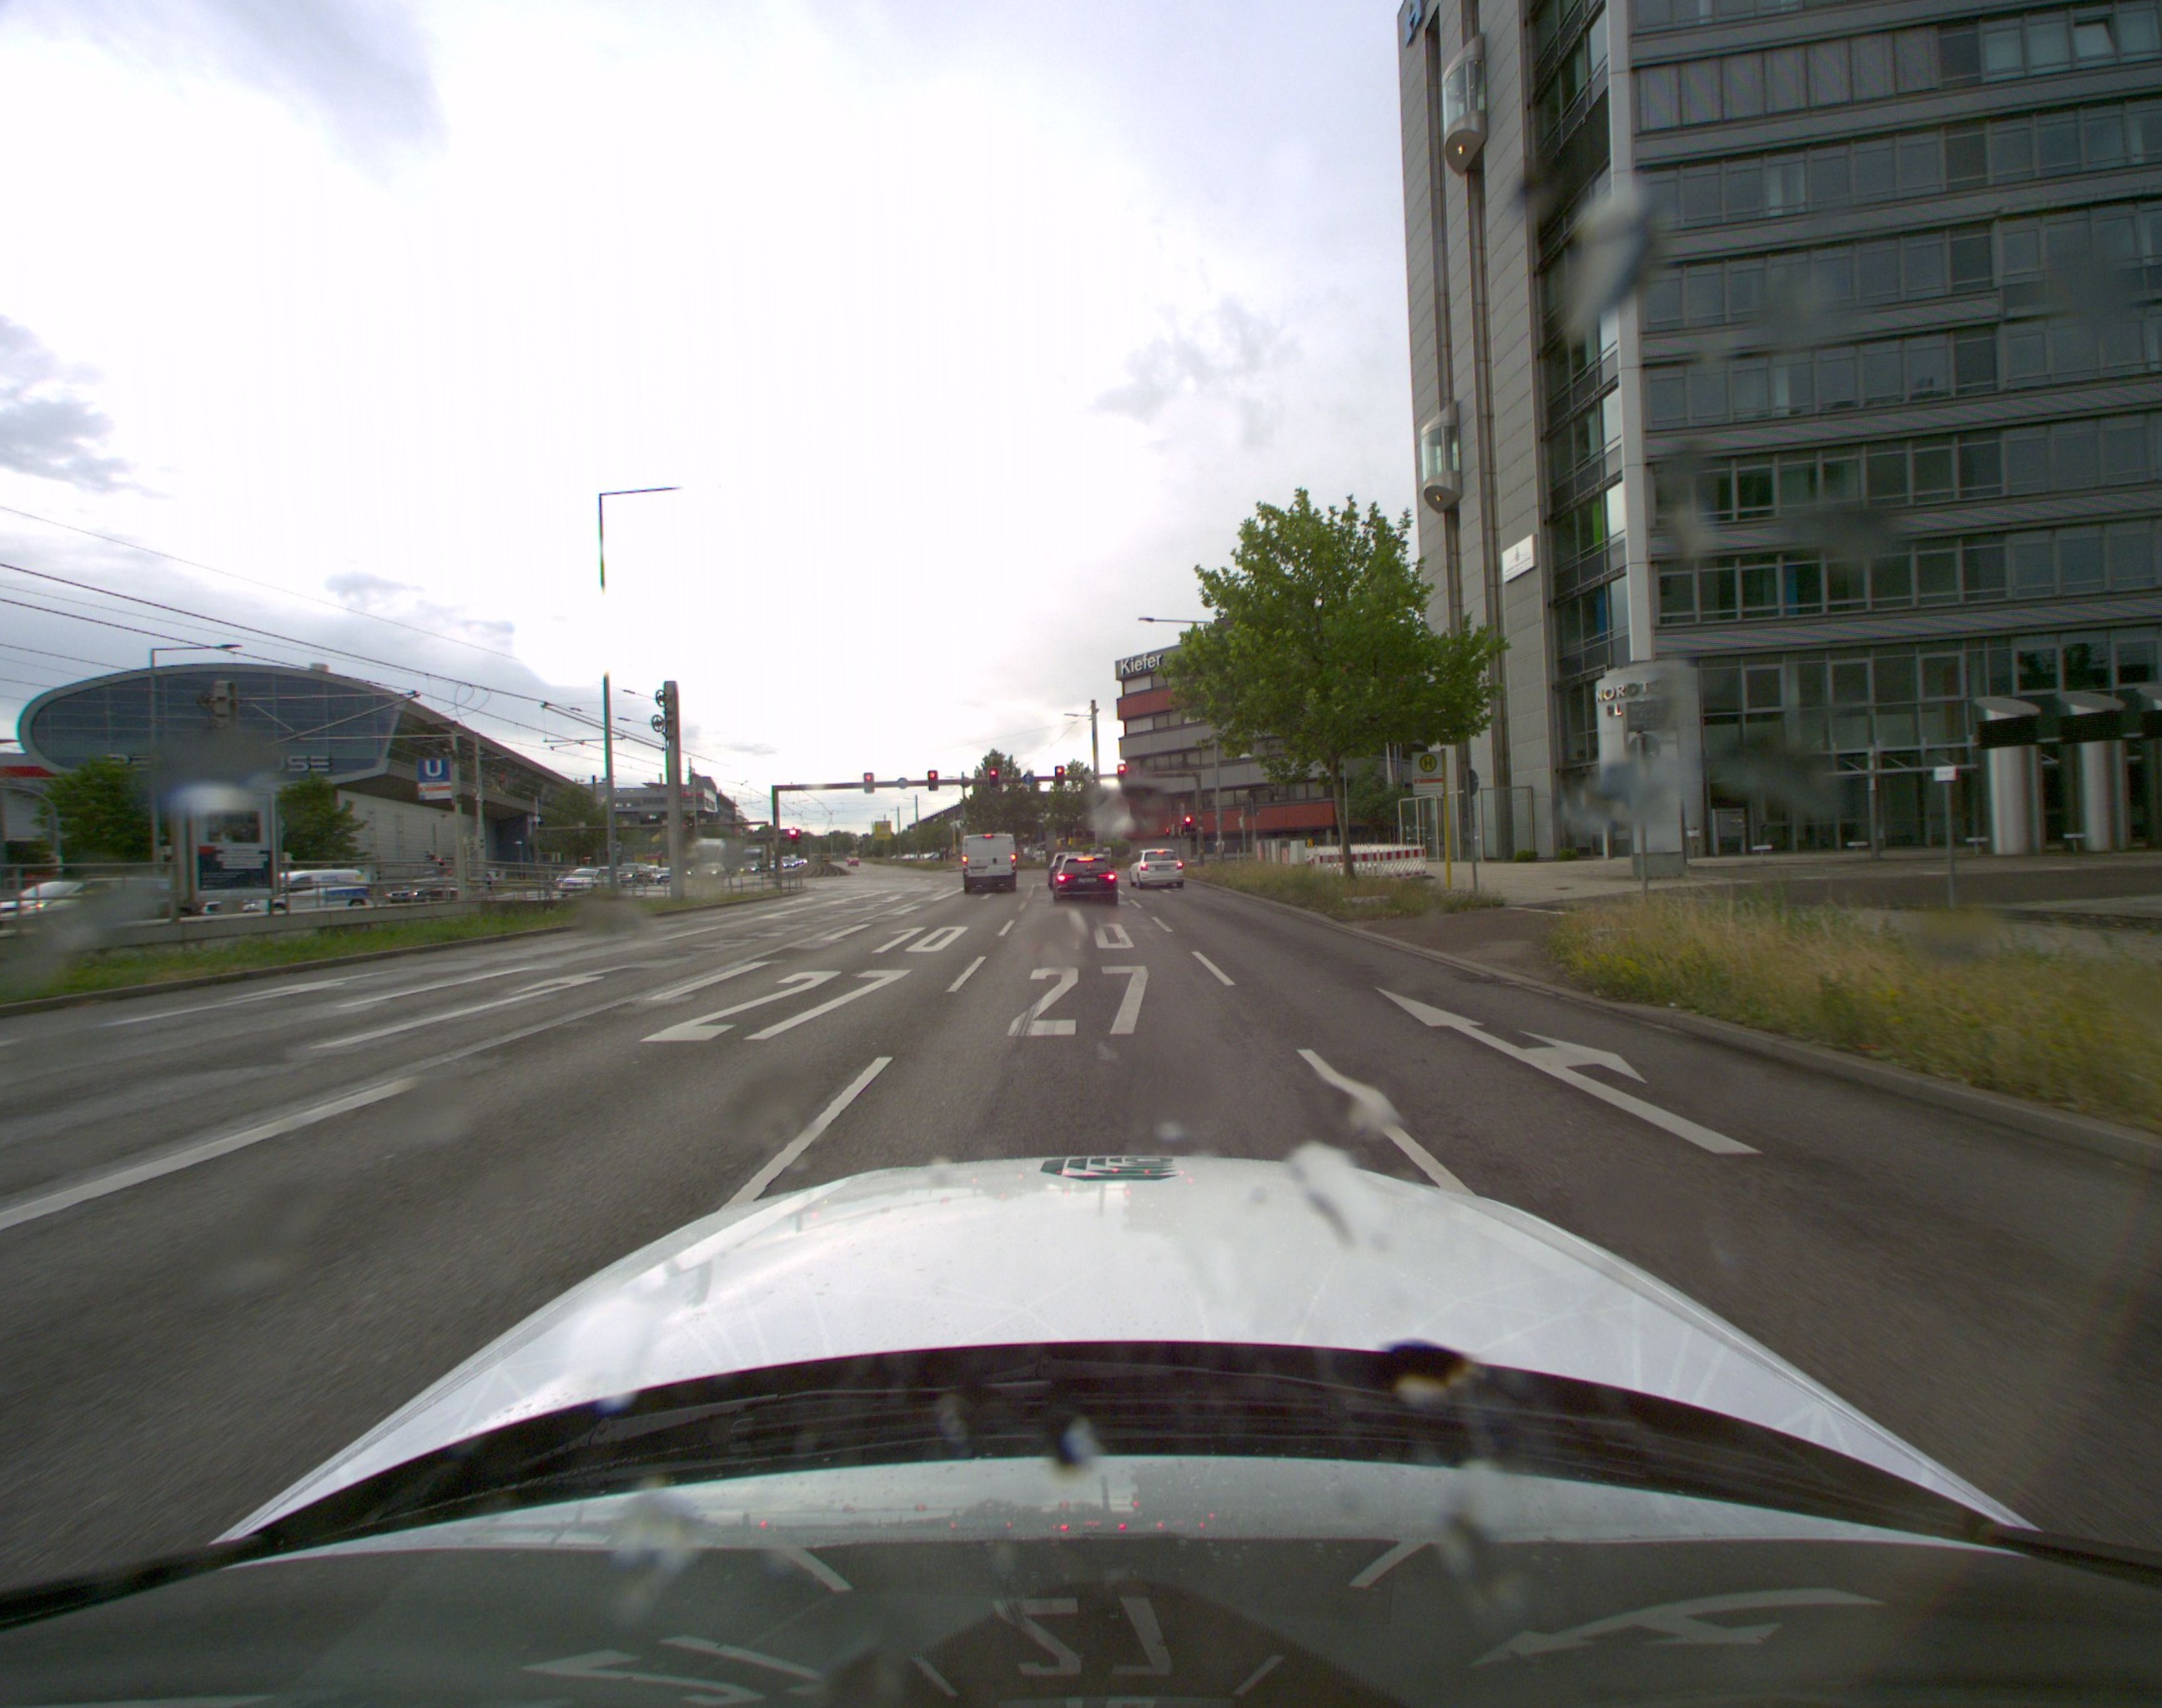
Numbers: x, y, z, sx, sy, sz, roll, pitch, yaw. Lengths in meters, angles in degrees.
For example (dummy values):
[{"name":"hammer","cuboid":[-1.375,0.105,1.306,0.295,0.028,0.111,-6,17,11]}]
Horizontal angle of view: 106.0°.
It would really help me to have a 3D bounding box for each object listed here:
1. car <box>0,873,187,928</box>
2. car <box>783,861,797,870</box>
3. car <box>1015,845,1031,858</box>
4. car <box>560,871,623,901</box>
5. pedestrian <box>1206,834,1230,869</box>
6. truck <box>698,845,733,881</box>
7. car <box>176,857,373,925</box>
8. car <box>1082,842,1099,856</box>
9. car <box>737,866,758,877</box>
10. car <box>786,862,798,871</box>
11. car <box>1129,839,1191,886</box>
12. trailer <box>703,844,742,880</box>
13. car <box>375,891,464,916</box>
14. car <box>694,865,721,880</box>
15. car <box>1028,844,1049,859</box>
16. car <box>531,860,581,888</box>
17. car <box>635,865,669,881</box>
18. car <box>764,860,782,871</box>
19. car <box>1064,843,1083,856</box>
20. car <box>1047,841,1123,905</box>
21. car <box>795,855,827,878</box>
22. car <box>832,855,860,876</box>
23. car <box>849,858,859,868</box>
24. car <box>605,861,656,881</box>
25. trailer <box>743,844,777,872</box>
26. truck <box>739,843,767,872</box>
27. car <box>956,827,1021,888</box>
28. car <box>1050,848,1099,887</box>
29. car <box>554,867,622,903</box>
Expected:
[{"name":"car","cuboid":[-34.622,1.549,28.294,2.100,1.700,4.660,0,-1,-3]},{"name":"car","cuboid":[-53.499,2.142,149.540,1.905,1.555,4.545,0,-1,-13]},{"name":"car","cuboid":[-9.113,-0.372,127.831,1.683,2.014,3.521,0,-1,-17]},{"name":"car","cuboid":[-28.987,1.867,48.373,1.526,1.666,4.260,0,-1,-5]},{"name":"pedestrian","cuboid":[8.679,-0.144,51.654,1.140,2.125,1.222,-3,1,-2]},{"name":"truck","cuboid":[-43.013,0.987,96.044,2.838,3.996,5.953,-2,0,-16]},{"name":"car","cuboid":[-28.526,1.231,29.128,1.988,2.214,5.139,0,-1,-2]},{"name":"car","cuboid":[1.362,-0.736,123.168,1.680,2.014,3.118,0,-1,-18]},{"name":"car","cuboid":[-41.286,2.151,100.866,1.911,1.264,4.391,0,-1,-15]},{"name":"car","cuboid":[-58.864,2.530,165.872,1.999,1.837,4.879,-1,1,-18]},{"name":"car","cuboid":[2.947,0.326,31.219,1.824,1.656,3.996,-1,-1,-2]},{"name":"trailer","cuboid":[-44.696,0.964,101.831,2.801,4.107,11.378,-3,1,-16]},{"name":"car","cuboid":[-35.414,2.612,43.718,1.521,1.131,3.934,0,-1,0]},{"name":"car","cuboid":[-37.914,1.864,82.773,1.741,1.462,4.132,0,-1,-15]},{"name":"car","cuboid":[-6.221,-0.300,119.102,2.000,2.032,3.974,-3,0,-19]},{"name":"car","cuboid":[-38.816,1.470,60.319,1.776,2.014,4.325,0,-1,-15]},{"name":"car","cuboid":[-42.949,1.888,81.634,1.570,1.627,4.072,0,-1,-7]},{"name":"car","cuboid":[-45.341,1.698,119.878,1.888,1.652,4.078,0,-1,-12]},{"name":"car","cuboid":[-1.185,-0.696,131.375,1.877,2.014,3.746,0,-1,-22]},{"name":"car","cuboid":[0.089,0.536,23.846,1.988,1.637,3.998,-2,-1,-1]},{"name":"car","cuboid":[-25.369,1.145,76.599,1.769,2.013,4.341,0,0,-4]},{"name":"car","cuboid":[-23.542,1.083,81.754,1.769,2.013,4.341,0,0,-4]},{"name":"car","cuboid":[-43.599,1.763,156.170,1.776,2.014,4.323,0,-1,-16]},{"name":"car","cuboid":[-34.581,1.301,62.676,1.675,1.498,4.920,0,-1,-7]},{"name":"trailer","cuboid":[-50.548,0.650,128.579,2.651,4.124,12.693,-3,0,-12]},{"name":"truck","cuboid":[-49.412,0.584,122.957,2.668,4.130,6.162,-3,-1,-11]},{"name":"car","cuboid":[-3.767,0.159,33.092,2.443,2.294,4.893,0,-1,-7]},{"name":"car","cuboid":[-0.229,0.535,33.755,1.887,1.465,3.909,-2,-1,0]},{"name":"car","cuboid":[-29.276,1.818,48.505,1.771,2.014,4.337,0,-1,-7]}]
